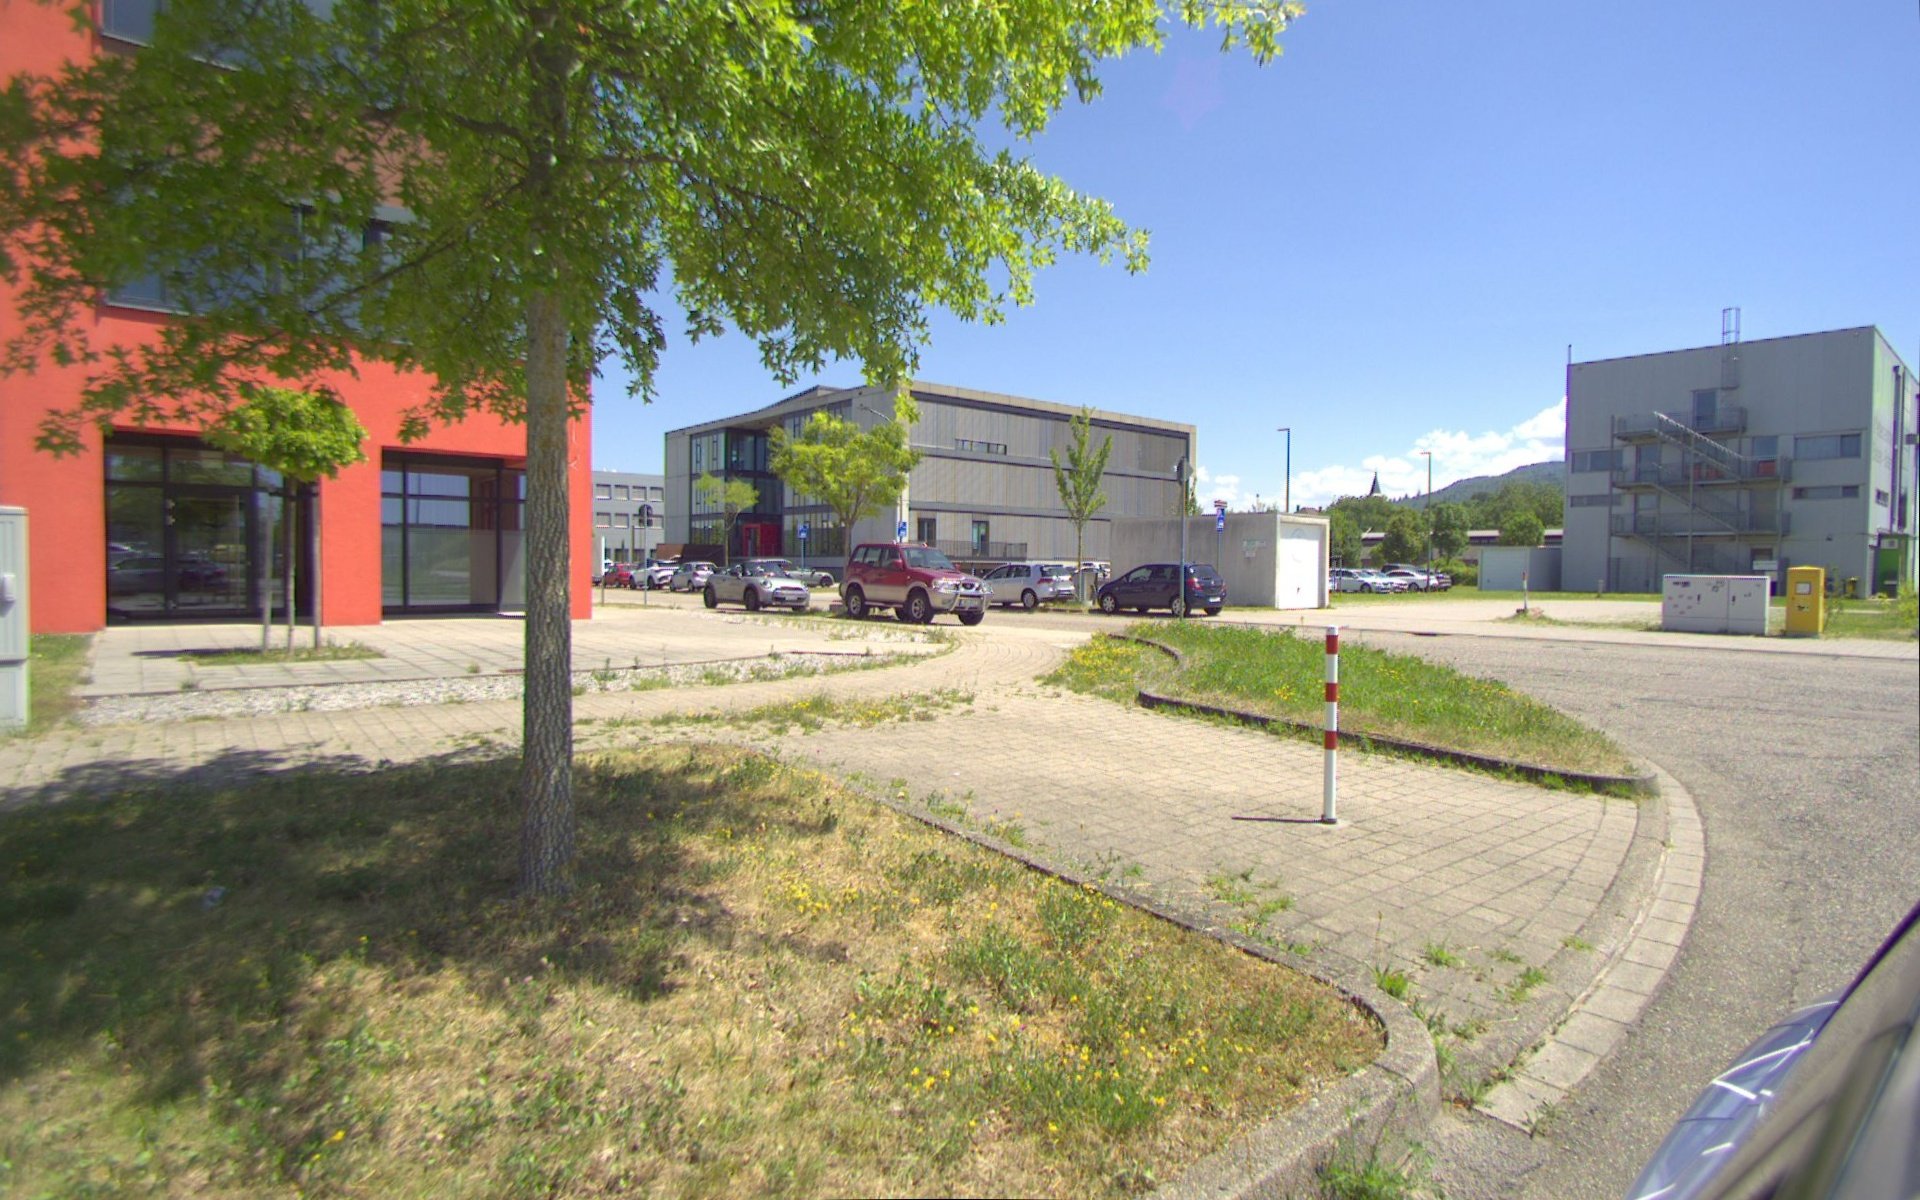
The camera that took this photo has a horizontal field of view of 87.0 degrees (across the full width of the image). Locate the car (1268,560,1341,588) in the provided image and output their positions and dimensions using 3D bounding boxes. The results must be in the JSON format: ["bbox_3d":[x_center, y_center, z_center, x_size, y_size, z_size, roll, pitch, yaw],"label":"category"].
[{"bbox_3d":[19.502,-1.509,57.330,1.630,1.519,3.624,-2,3,-40],"label":"car"}]

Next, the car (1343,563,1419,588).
[{"bbox_3d":[25.878,-1.519,62.347,1.630,1.484,4.052,-2,3,-40],"label":"car"}]

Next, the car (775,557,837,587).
[{"bbox_3d":[-8.662,-1.600,57.274,1.643,1.487,3.595,0,4,28],"label":"car"}]

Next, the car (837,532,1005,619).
[{"bbox_3d":[-0.977,-0.534,23.170,1.778,1.797,3.996,1,0,-39],"label":"car"}]

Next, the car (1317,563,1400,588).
[{"bbox_3d":[23.890,-1.492,60.742,1.679,1.484,4.366,-2,3,-40],"label":"car"}]

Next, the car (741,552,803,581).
[{"bbox_3d":[-10.876,-1.955,58.871,1.643,1.487,3.595,0,4,28],"label":"car"}]

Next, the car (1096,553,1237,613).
[{"bbox_3d":[5.752,-0.524,28.437,1.655,1.518,3.624,-4,4,-40],"label":"car"}]

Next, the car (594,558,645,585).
[{"bbox_3d":[-20.295,-1.723,60.266,1.630,1.487,3.624,-4,4,-40],"label":"car"}]

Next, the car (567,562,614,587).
[{"bbox_3d":[-23.313,-1.626,63.793,1.630,1.487,3.624,-4,4,-40],"label":"car"}]

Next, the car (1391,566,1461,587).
[{"bbox_3d":[31.421,-1.618,68.328,1.630,1.404,4.052,-2,3,-40],"label":"car"}]

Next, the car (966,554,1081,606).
[{"bbox_3d":[2.013,-0.673,32.792,1.631,1.518,3.622,-5,4,-42],"label":"car"}]

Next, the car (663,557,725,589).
[{"bbox_3d":[-13.668,-1.404,51.947,1.630,1.487,3.624,-4,4,-40],"label":"car"}]

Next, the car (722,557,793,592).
[{"bbox_3d":[-9.382,-1.185,46.686,1.630,1.487,3.624,-4,4,-40],"label":"car"}]

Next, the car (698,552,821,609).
[{"bbox_3d":[-5.755,-0.569,28.799,1.757,1.460,3.702,2,0,-42],"label":"car"}]

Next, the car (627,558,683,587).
[{"bbox_3d":[-16.880,-1.523,55.904,1.630,1.487,3.624,-4,4,-40],"label":"car"}]

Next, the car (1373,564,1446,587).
[{"bbox_3d":[29.220,-1.621,65.817,1.630,1.442,4.052,-2,3,-40],"label":"car"}]

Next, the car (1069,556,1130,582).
[{"bbox_3d":[8.689,-1.924,63.153,1.630,1.518,3.625,-4,4,-38],"label":"car"}]
